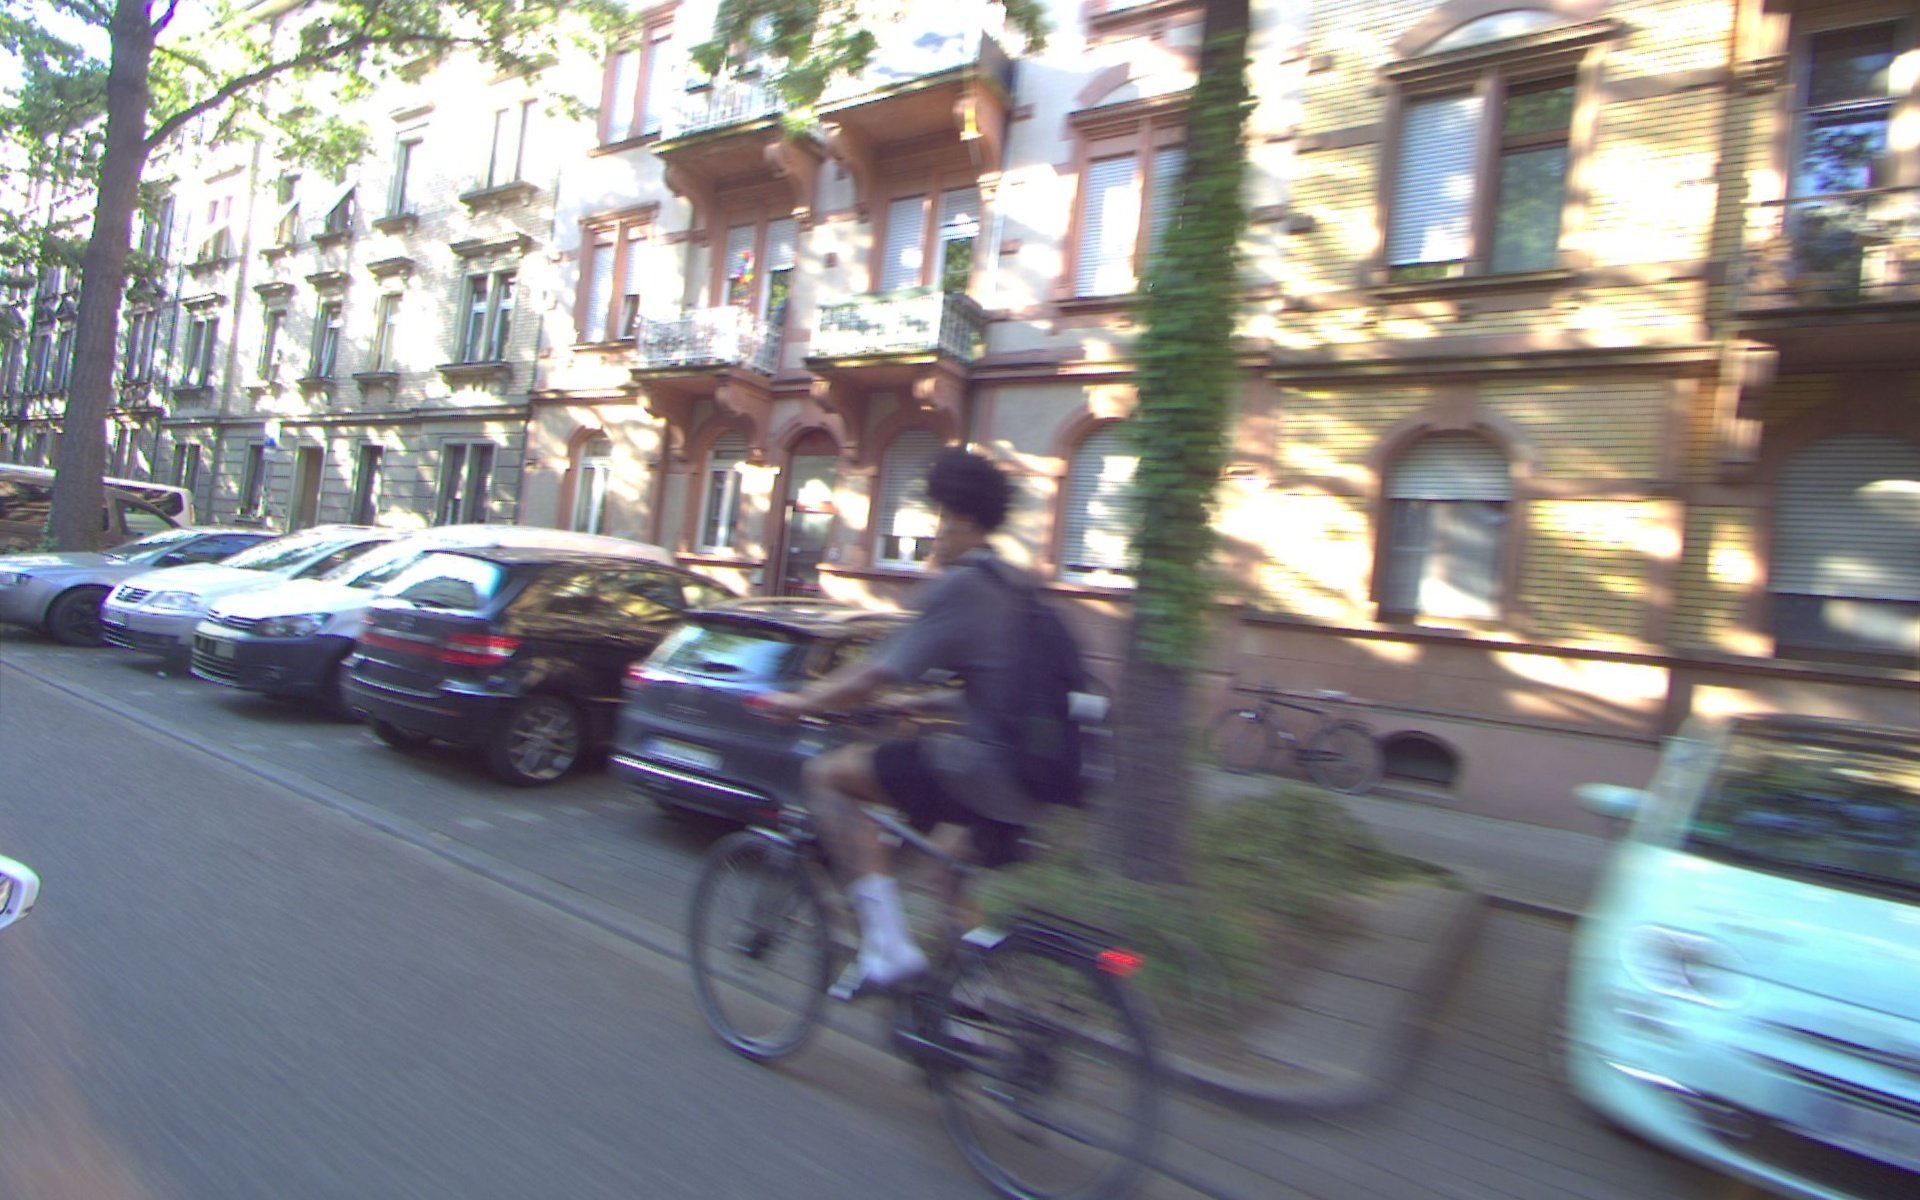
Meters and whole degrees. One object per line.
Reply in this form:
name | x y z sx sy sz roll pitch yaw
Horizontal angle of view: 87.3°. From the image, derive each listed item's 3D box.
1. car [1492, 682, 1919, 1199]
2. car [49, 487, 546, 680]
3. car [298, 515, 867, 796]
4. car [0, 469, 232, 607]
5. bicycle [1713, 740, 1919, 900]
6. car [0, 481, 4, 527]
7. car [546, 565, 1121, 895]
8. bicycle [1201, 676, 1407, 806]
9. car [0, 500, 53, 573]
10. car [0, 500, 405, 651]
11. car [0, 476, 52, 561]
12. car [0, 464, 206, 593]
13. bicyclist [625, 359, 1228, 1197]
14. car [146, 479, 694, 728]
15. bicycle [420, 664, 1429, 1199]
car | 3.526 1.192 3.891 1.822 1.474 3.654 8 2 38
car | -7.039 -0.077 11.254 1.802 1.631 4.230 7 0 26
car | -2.733 0.429 8.195 1.706 1.627 4.013 6 0 33
car | -13.802 -0.948 15.229 1.800 1.817 4.236 7 0 14
bicycle | 7.381 1.814 8.202 1.863 1.013 0.553 6 1 34
car | -24.752 -2.185 22.959 1.689 1.721 3.855 7 0 30
car | -0.533 0.746 7.013 1.706 1.486 4.013 6 0 33
bicycle | 3.544 1.421 10.461 1.863 1.013 0.553 6 1 34
car | -19.456 -1.374 18.421 1.689 1.310 3.855 7 0 30
car | -9.291 -0.233 12.073 1.803 1.421 4.228 7 0 28
car | -22.727 -2.000 22.001 1.689 1.819 3.855 7 0 30
car | -16.615 -1.357 17.603 1.805 1.949 5.060 7 0 33
bicyclist | -0.071 0.375 2.908 1.188 1.811 0.997 7 -1 34
car | -4.866 0.104 9.723 1.805 1.799 4.225 7 0 32
bicycle | -0.304 0.979 3.008 2.876 1.171 0.997 6 -1 34
